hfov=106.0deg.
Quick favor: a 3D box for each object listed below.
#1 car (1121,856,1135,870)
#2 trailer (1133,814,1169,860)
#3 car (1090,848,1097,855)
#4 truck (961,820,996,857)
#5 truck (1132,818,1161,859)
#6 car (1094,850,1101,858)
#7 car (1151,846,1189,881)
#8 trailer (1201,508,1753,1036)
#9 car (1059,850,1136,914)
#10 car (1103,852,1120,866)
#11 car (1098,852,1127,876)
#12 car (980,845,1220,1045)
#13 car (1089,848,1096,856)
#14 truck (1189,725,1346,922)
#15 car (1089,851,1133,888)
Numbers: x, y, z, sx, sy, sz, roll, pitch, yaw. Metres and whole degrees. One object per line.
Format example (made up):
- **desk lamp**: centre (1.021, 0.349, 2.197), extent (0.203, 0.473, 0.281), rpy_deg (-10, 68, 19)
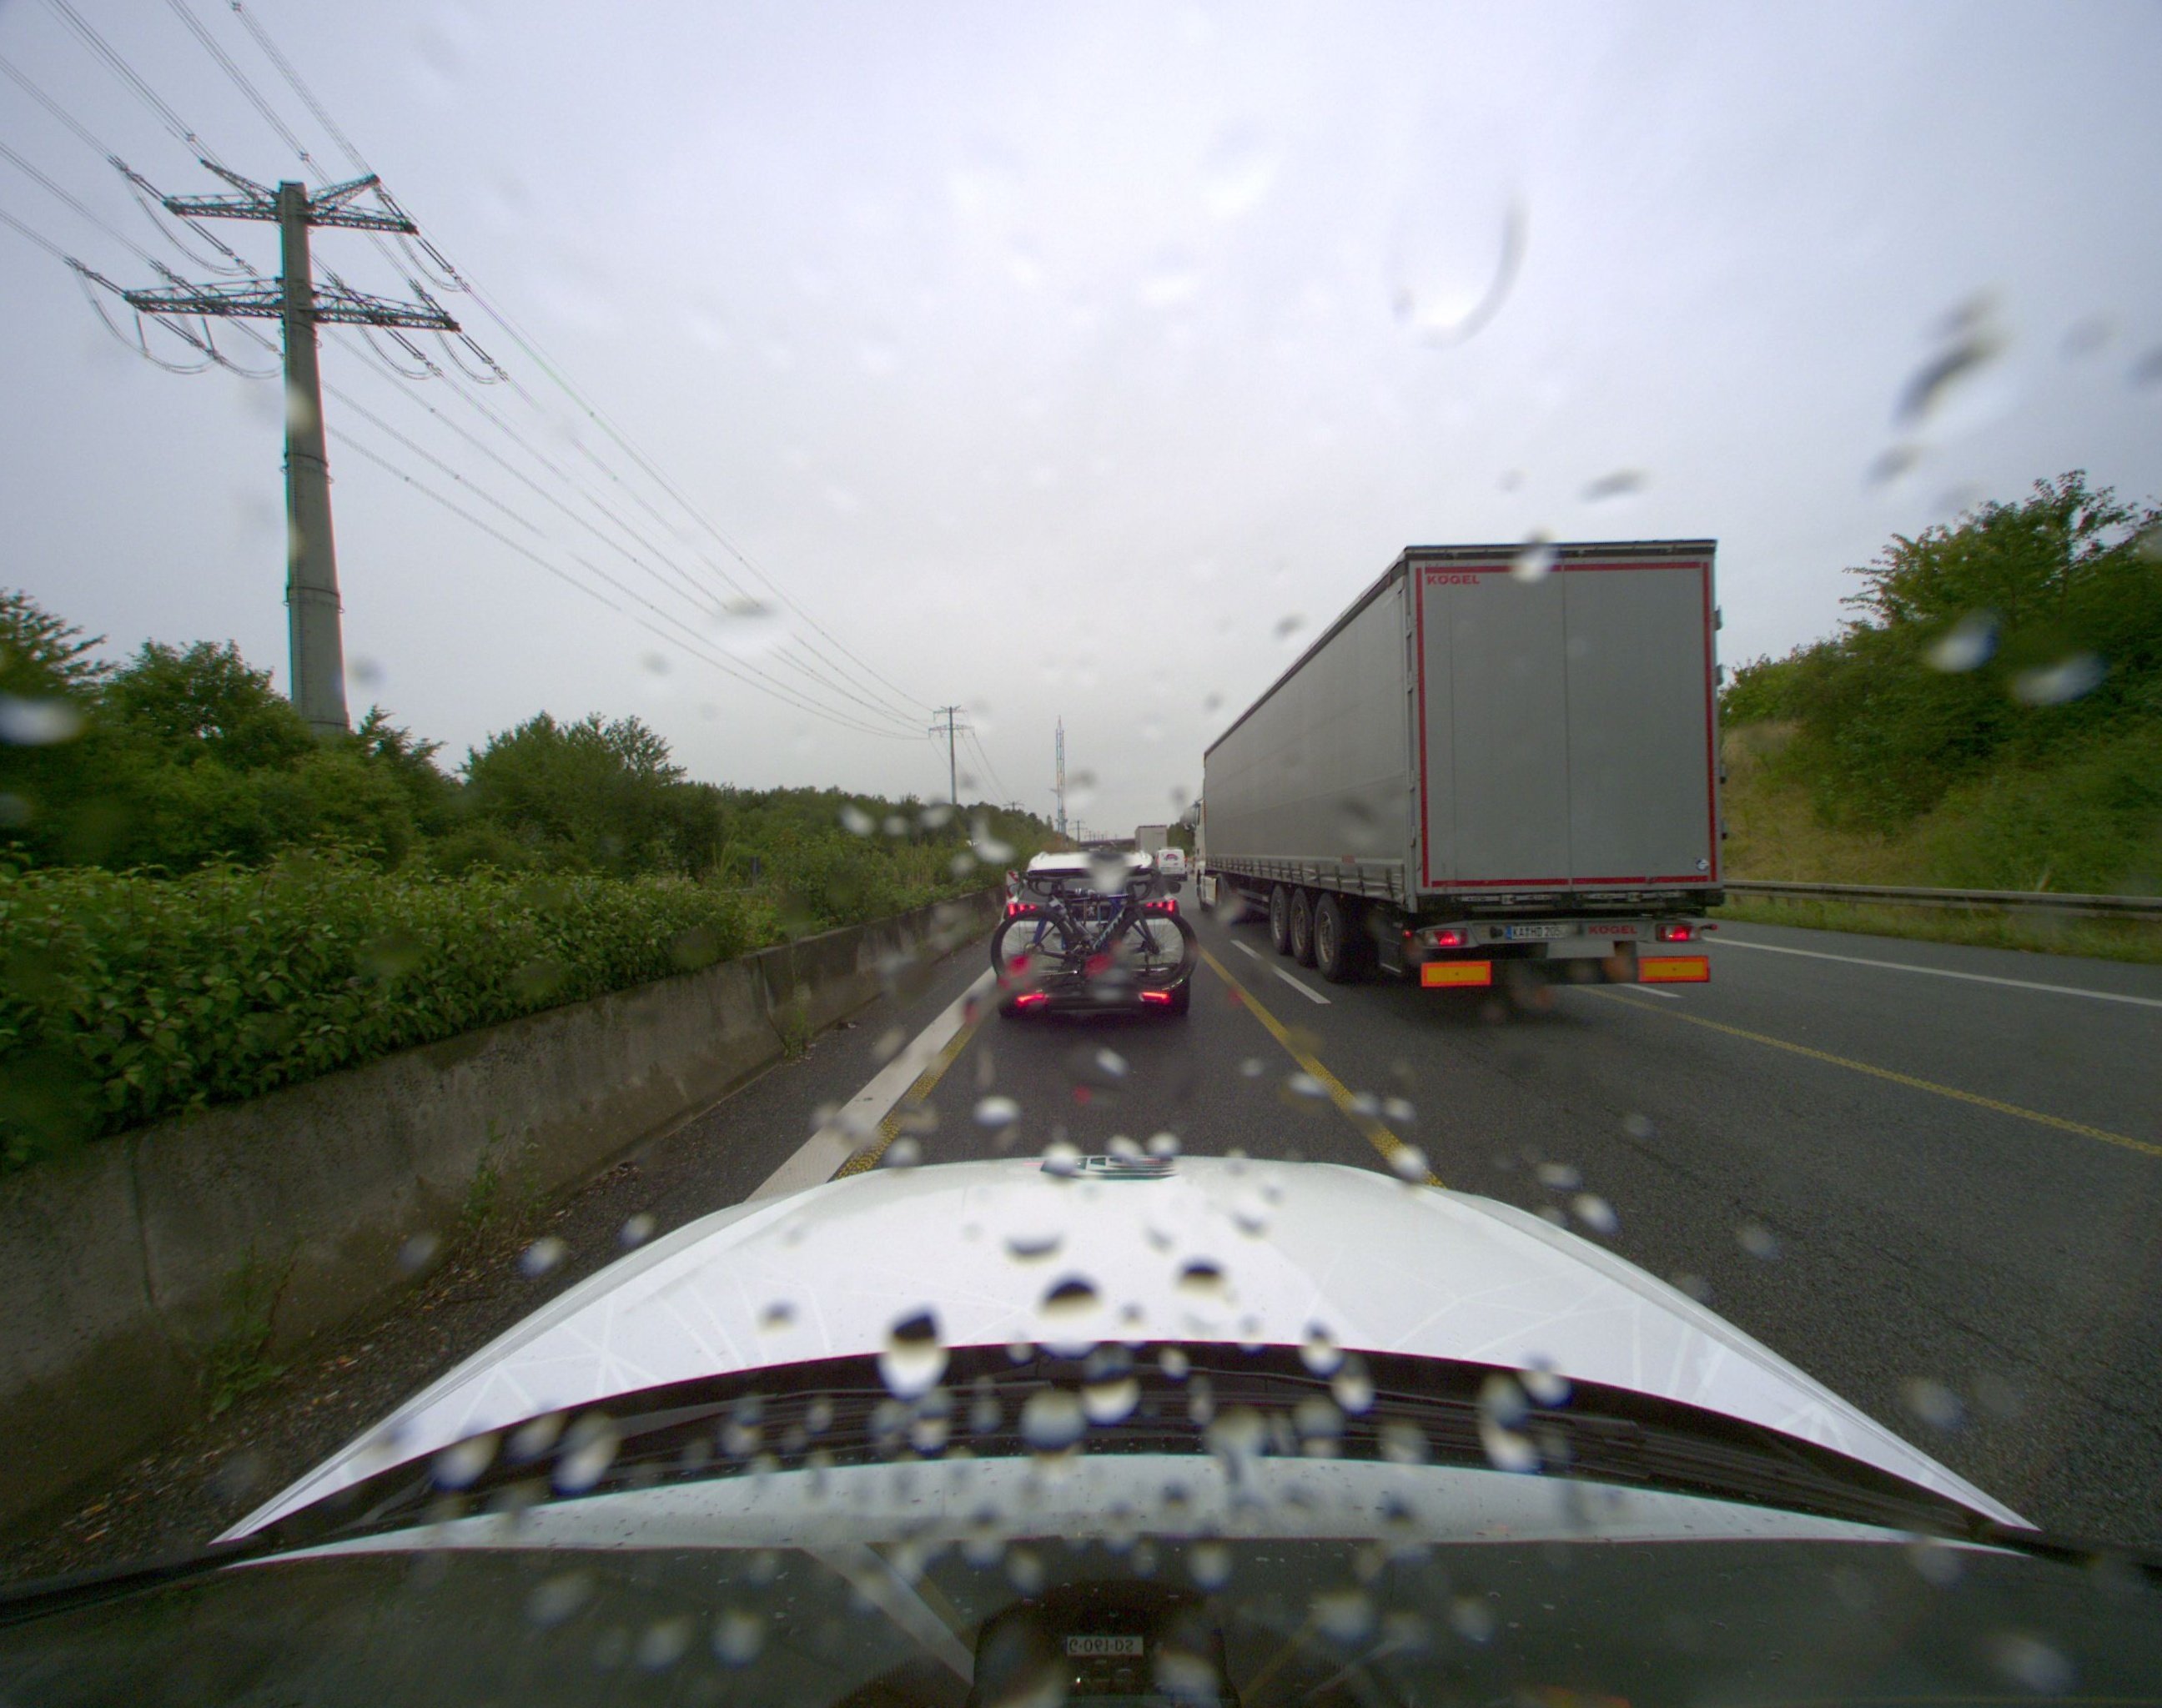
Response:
- **car**: centre (7.461, 1.391, 129.248), extent (2.102, 1.973, 4.002), rpy_deg (-1, 1, 2)
- **trailer**: centre (6.687, -1.532, 79.248), extent (2.682, 4.076, 13.639), rpy_deg (-1, 0, 2)
- **car**: centre (3.760, -0.713, 240.602), extent (1.924, 1.973, 4.002), rpy_deg (-1, 1, 2)
- **truck**: centre (-12.098, -1.782, 96.477), extent (2.776, 4.023, 7.235), rpy_deg (-4, 0, 1)
- **truck**: centre (6.890, -1.544, 85.953), extent (2.650, 4.076, 6.542), rpy_deg (-1, 0, 2)
- **car**: centre (4.269, 0.068, 210.069), extent (1.924, 1.973, 4.002), rpy_deg (-1, 1, 2)
- **car**: centre (5.029, 0.518, 46.501), extent (1.822, 1.839, 4.657), rpy_deg (-1, 0, 2)
- **trailer**: centre (4.152, -0.650, 13.340), extent (2.696, 4.146, 13.737), rpy_deg (-1, 0, 2)
- **car**: centre (0.466, 0.677, 21.692), extent (1.843, 1.531, 4.002), rpy_deg (-1, 0, 2)
- **car**: centre (3.530, 0.542, 93.735), extent (1.843, 1.531, 4.002), rpy_deg (-1, 0, 2)
- **car**: centre (2.105, 0.652, 54.914), extent (1.843, 1.531, 4.002), rpy_deg (-1, 0, 2)
- **car**: centre (0.221, 0.714, 8.743), extent (1.843, 1.531, 4.770), rpy_deg (-1, 0, 2)
- **car**: centre (3.260, -0.539, 227.794), extent (1.924, 1.910, 4.002), rpy_deg (-1, 1, 2)
- **truck**: centre (4.365, -0.648, 20.245), extent (2.696, 4.138, 5.693), rpy_deg (-1, 0, 2)
- **car**: centre (1.337, 0.652, 36.388), extent (1.843, 1.531, 4.002), rpy_deg (-1, 0, 2)
